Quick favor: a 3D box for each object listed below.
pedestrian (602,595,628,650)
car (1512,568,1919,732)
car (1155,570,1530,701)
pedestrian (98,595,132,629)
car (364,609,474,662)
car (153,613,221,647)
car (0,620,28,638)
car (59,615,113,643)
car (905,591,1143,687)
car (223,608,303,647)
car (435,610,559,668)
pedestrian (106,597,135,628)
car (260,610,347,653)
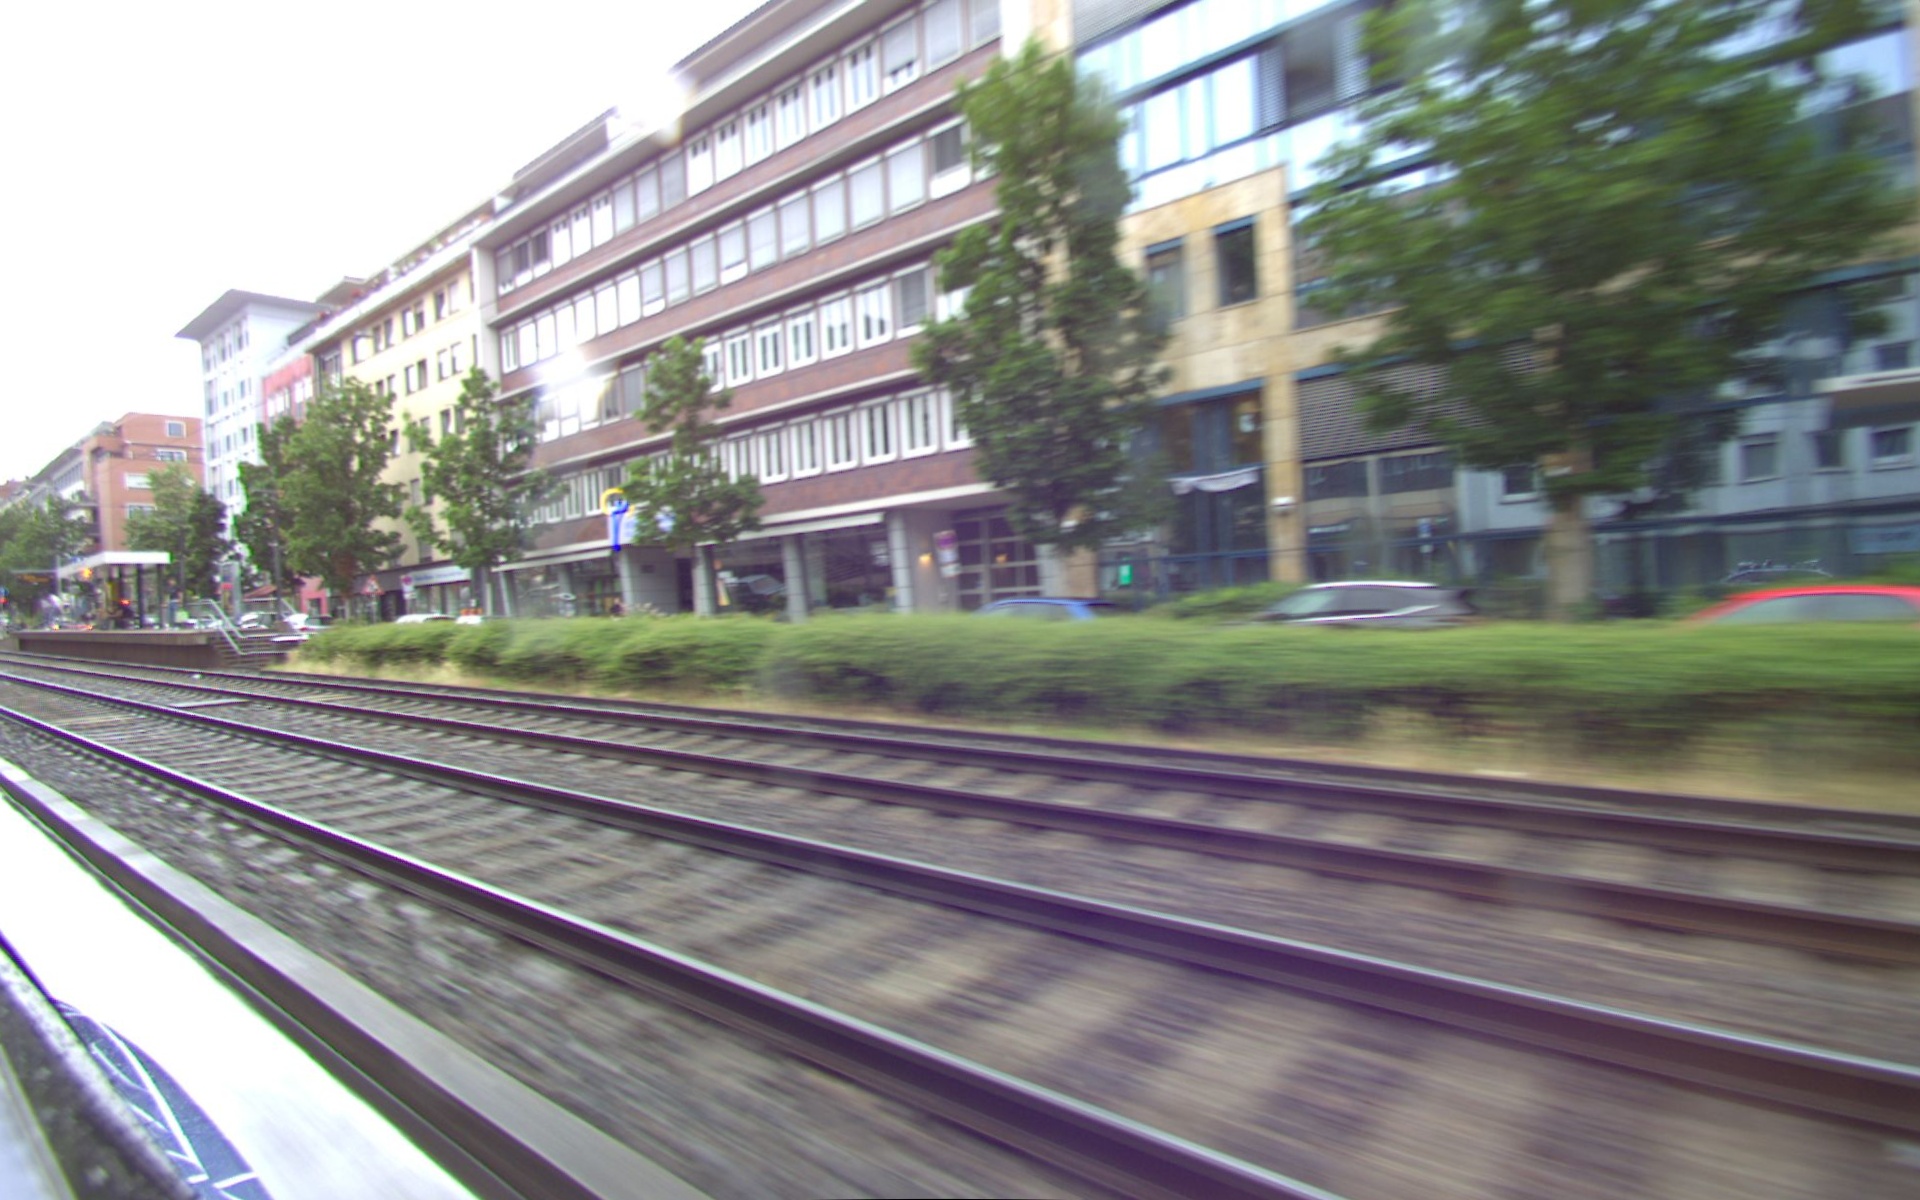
[{"bbox_3d":[-12.065,0.784,35.392,0.743,1.883,0.569,-2,-1,41],"label":"pedestrian"},{"bbox_3d":[8.770,0.490,10.981,4.619,1.552,1.632,-2,-1,41],"label":"car"},{"bbox_3d":[5.176,0.465,14.142,4.619,1.552,1.632,-2,-1,41],"label":"car"},{"bbox_3d":[-35.107,0.503,42.054,0.637,1.396,0.946,-2,-1,38],"label":"pedestrian"},{"bbox_3d":[-18.715,1.203,34.968,3.996,1.674,1.974,-2,-1,40],"label":"car"},{"bbox_3d":[-40.396,1.578,52.834,3.996,1.674,1.974,-2,-1,40],"label":"car"},{"bbox_3d":[-91.435,2.792,97.472,3.996,1.674,1.974,-1,0,40],"label":"car"},{"bbox_3d":[-55.458,1.855,64.207,3.996,1.674,1.974,-2,-1,40],"label":"car"},{"bbox_3d":[1.050,0.653,17.971,4.065,1.509,1.632,-2,-1,41],"label":"car"},{"bbox_3d":[-31.784,1.257,46.099,3.996,1.674,1.974,-2,-1,40],"label":"car"},{"bbox_3d":[-14.461,1.179,31.565,3.996,1.674,1.974,-2,-1,40],"label":"car"},{"bbox_3d":[-34.568,0.514,41.679,0.637,1.265,0.805,-2,-1,38],"label":"pedestrian"},{"bbox_3d":[-27.581,1.311,42.498,3.996,1.674,1.974,-2,-1,40],"label":"car"}]
